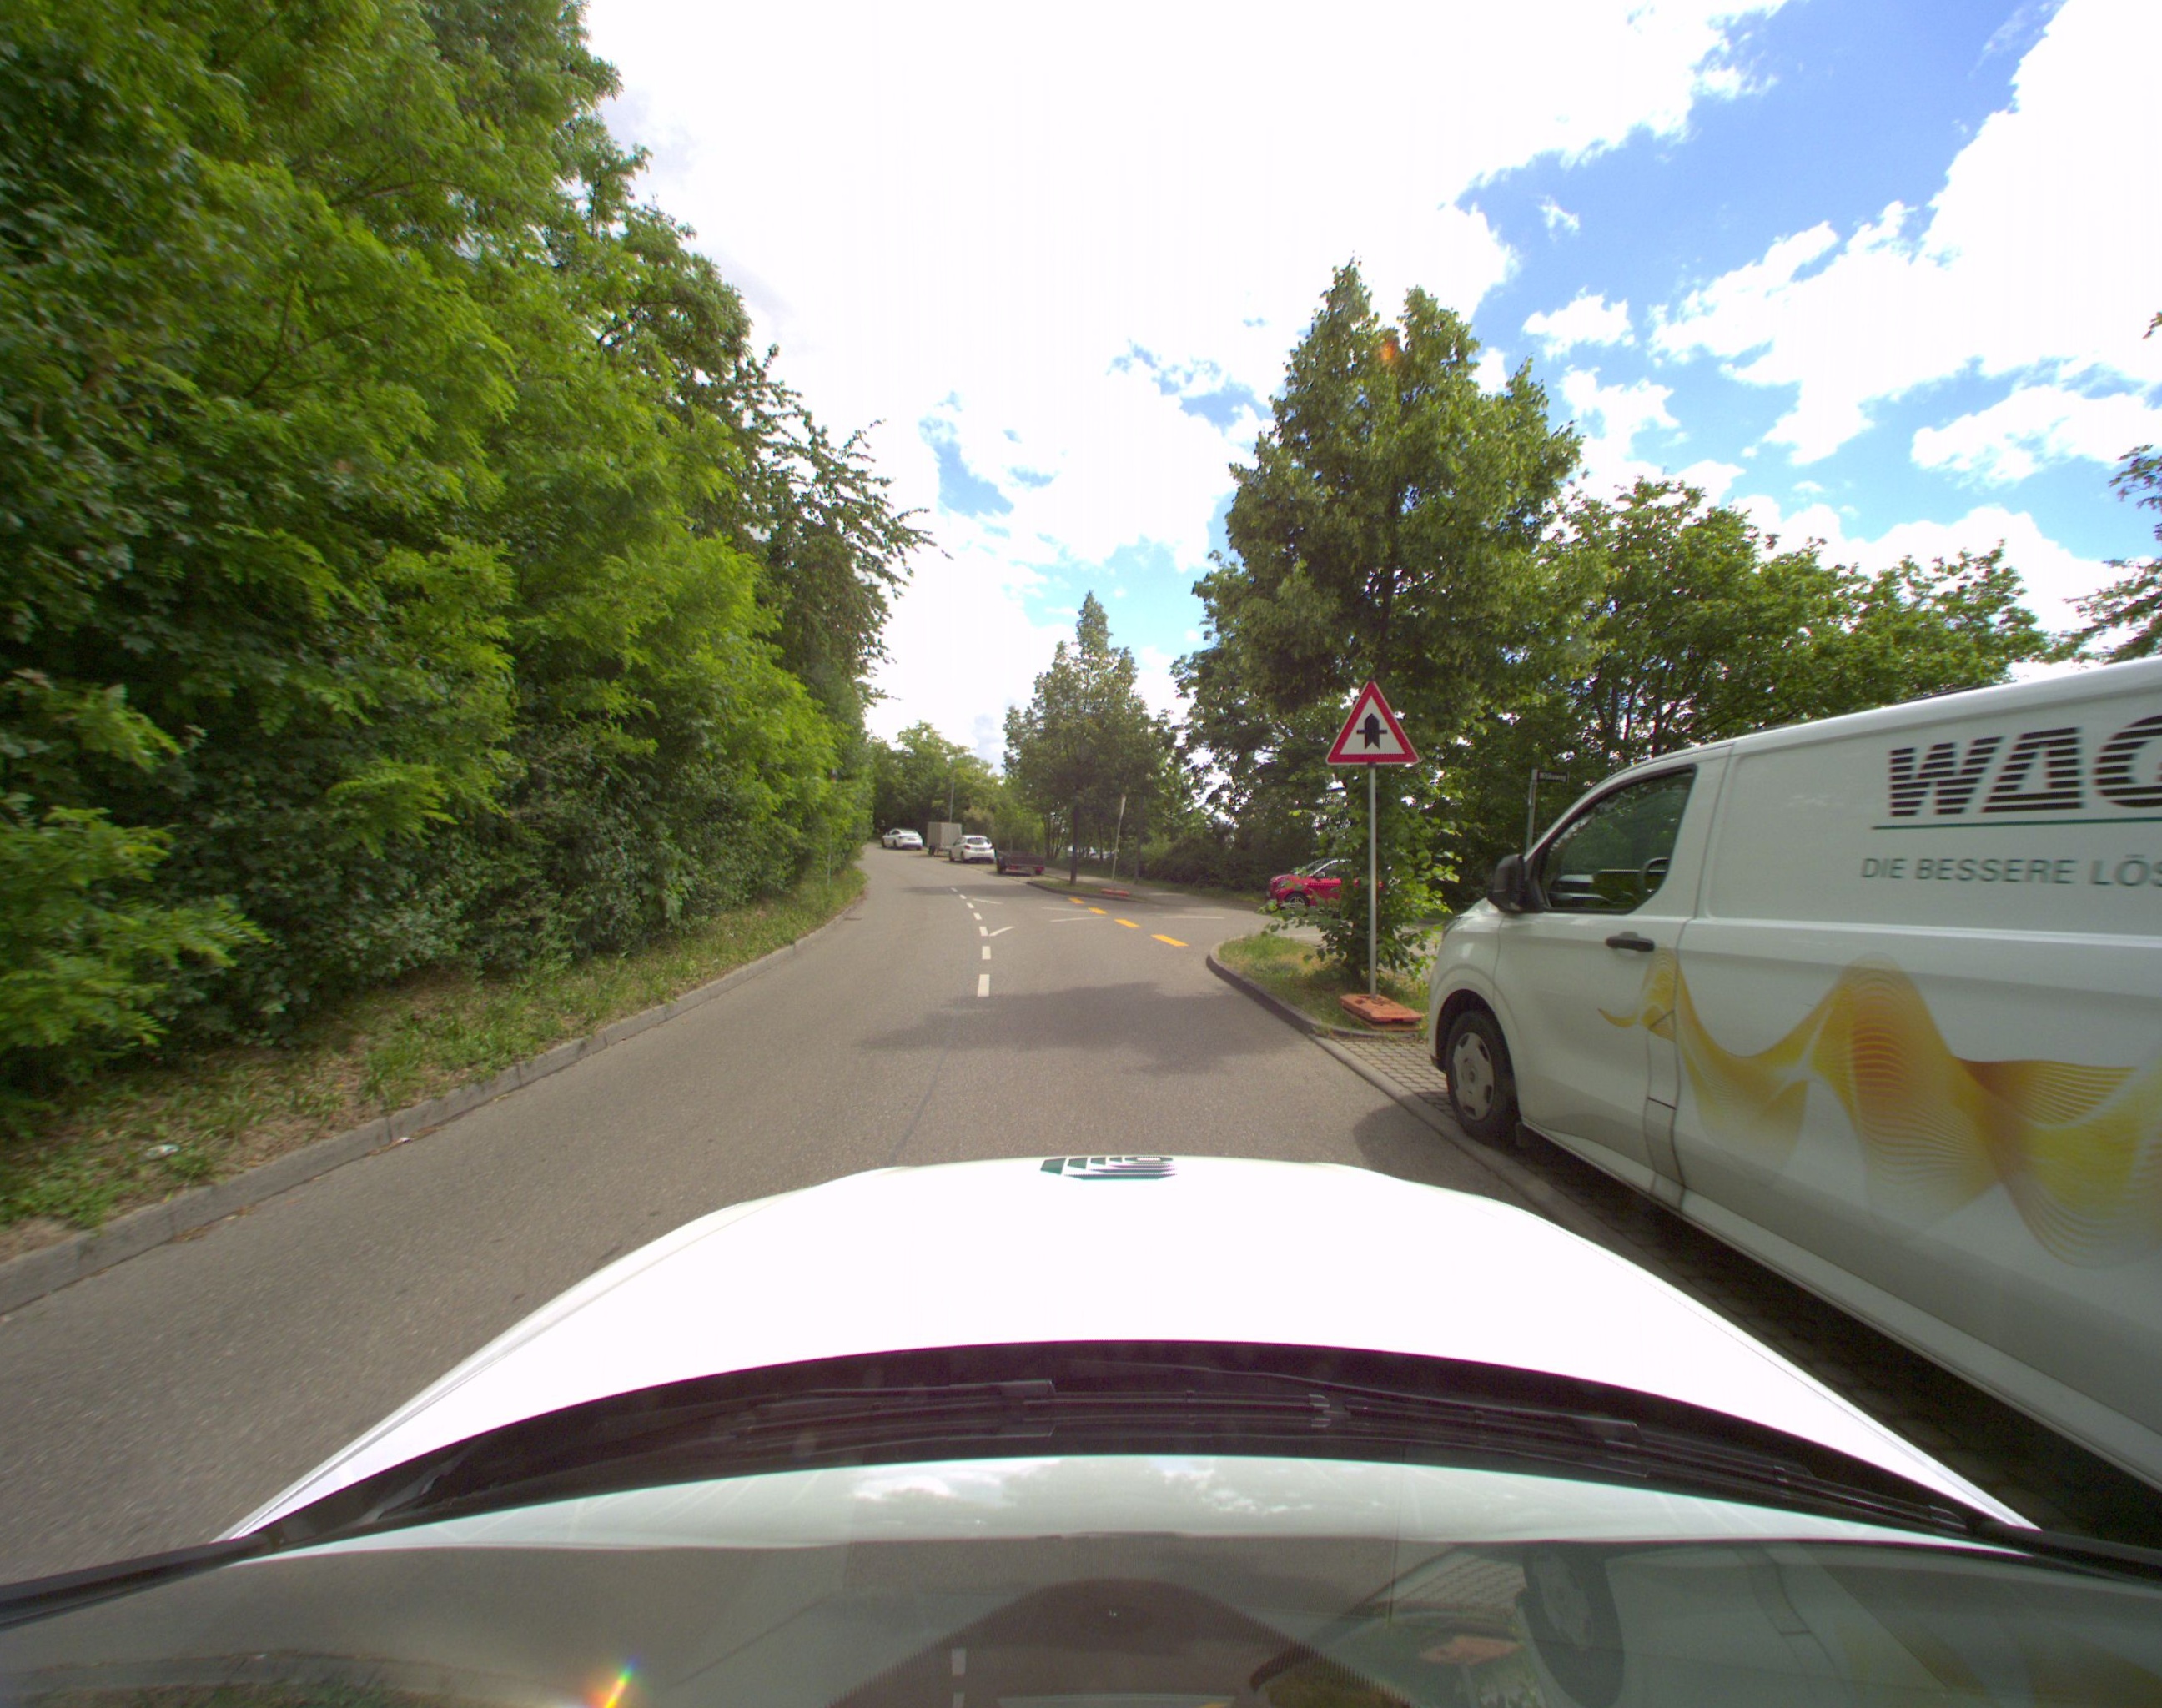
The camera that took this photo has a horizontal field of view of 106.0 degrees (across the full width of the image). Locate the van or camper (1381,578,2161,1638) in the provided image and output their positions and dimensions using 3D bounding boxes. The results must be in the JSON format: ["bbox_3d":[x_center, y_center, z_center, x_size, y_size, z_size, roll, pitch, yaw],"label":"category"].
[{"bbox_3d":[2.945,0.478,2.465,1.988,1.920,5.263,2,0,-1],"label":"van or camper"}]

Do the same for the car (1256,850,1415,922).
[{"bbox_3d":[6.504,0.791,21.121,3.523,1.480,1.783,4,1,1],"label":"car"}]

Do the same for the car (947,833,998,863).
[{"bbox_3d":[-5.914,-0.349,44.034,1.776,1.411,3.972,1,3,-22],"label":"car"}]

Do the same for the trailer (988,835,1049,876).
[{"bbox_3d":[-2.782,0.028,35.336,1.789,1.525,3.978,2,2,-17],"label":"trailer"}]

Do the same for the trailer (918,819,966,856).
[{"bbox_3d":[-8.539,-1.041,49.939,1.750,2.110,3.965,1,2,-28],"label":"trailer"}]

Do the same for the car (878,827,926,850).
[{"bbox_3d":[-12.557,-1.118,56.991,1.899,1.375,4.309,1,2,-32],"label":"car"}]
